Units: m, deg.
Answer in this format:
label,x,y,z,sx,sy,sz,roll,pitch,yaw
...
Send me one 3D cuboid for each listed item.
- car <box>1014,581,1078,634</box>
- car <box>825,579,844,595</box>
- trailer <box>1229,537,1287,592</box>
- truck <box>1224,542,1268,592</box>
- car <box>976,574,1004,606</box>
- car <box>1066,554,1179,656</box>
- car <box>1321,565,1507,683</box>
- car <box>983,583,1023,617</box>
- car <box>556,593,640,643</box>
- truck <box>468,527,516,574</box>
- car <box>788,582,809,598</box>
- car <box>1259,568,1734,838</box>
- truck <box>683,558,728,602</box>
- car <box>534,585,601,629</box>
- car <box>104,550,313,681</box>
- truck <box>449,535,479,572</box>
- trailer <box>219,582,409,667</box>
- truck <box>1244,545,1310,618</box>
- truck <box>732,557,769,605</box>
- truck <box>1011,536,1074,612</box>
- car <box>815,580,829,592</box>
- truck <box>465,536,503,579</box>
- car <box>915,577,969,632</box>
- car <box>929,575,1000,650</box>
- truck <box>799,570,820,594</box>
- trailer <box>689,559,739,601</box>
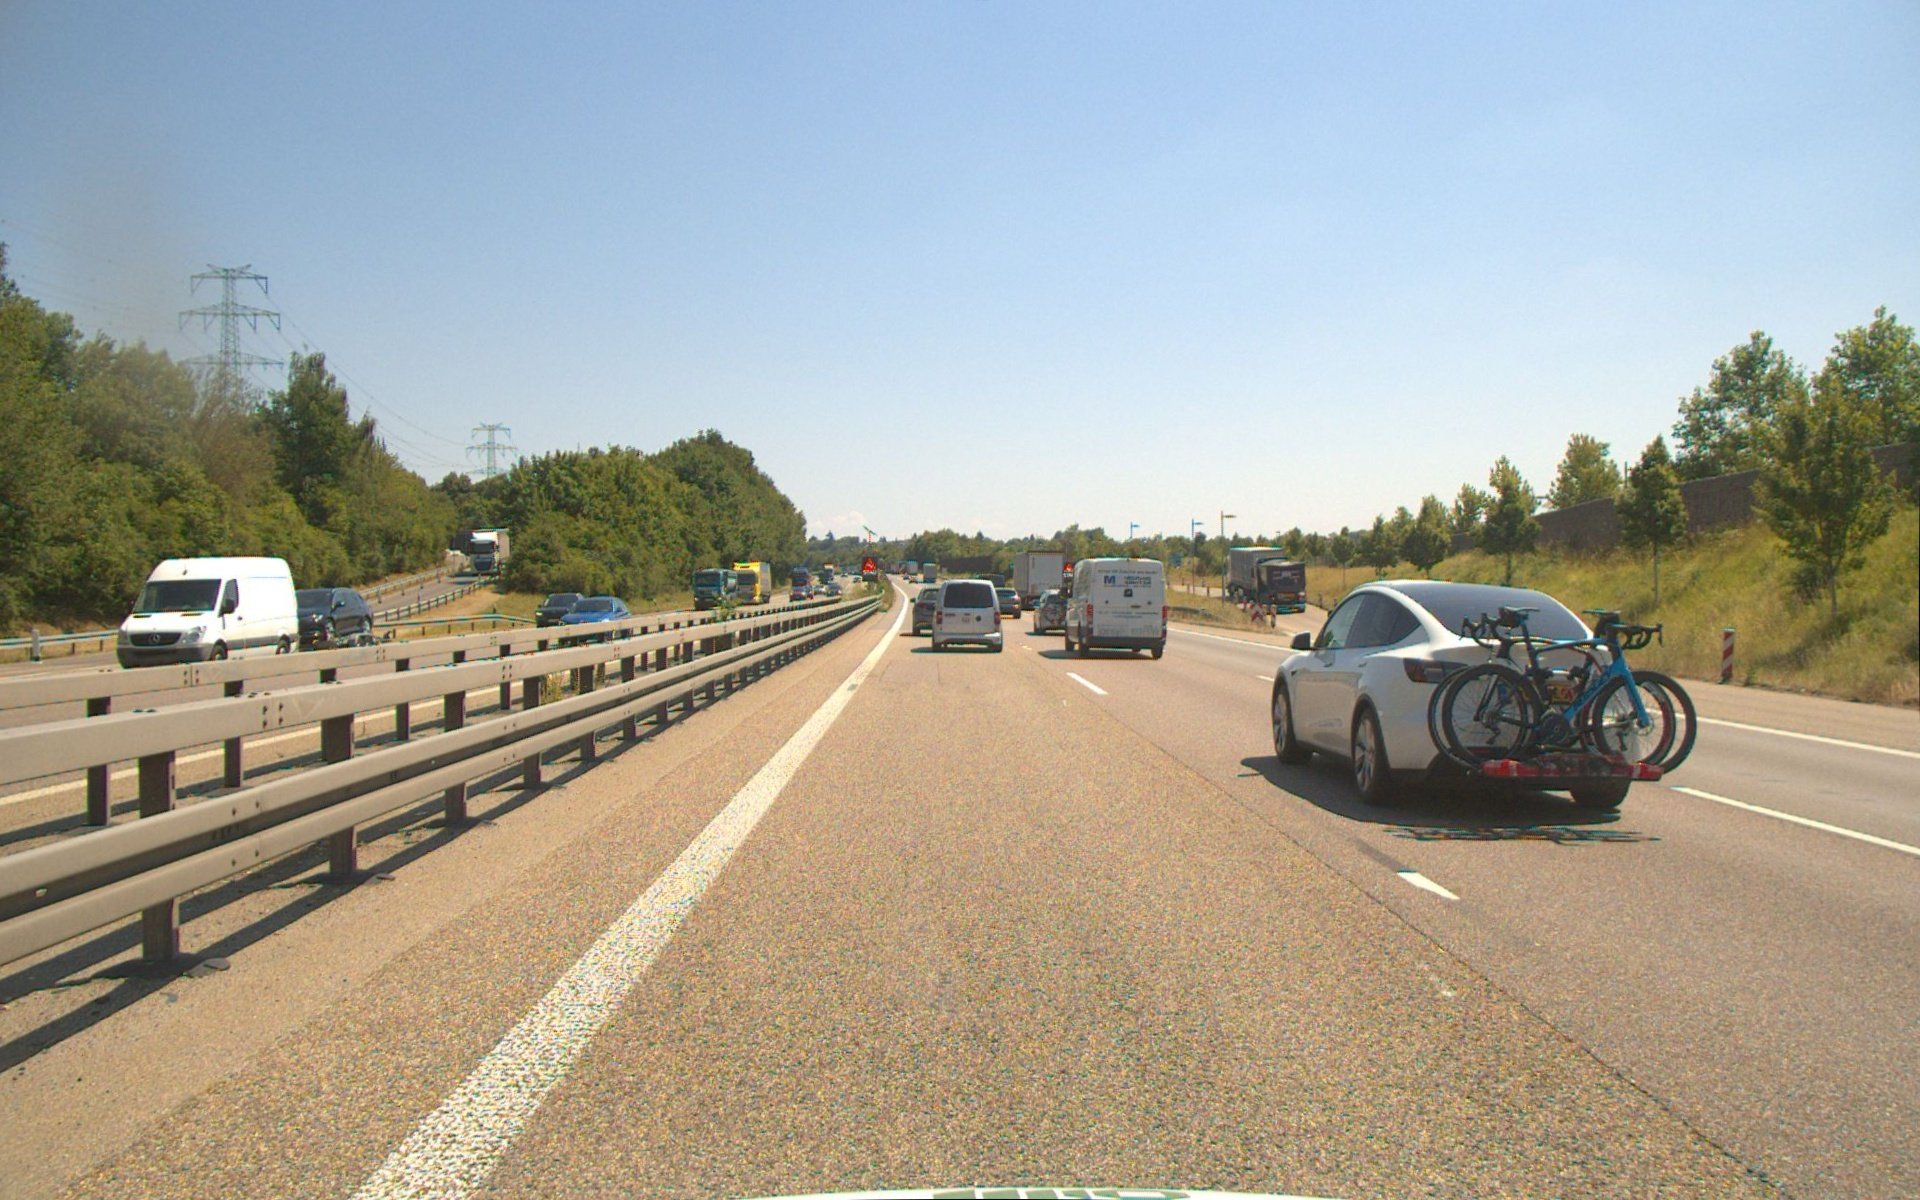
label,x,y,z,sx,sy,sz,roll,pitch,yaw
car,2.964,0.226,57.876,1.936,1.763,4.088,-1,0,-1
car,-13.360,-1.431,175.982,1.746,1.653,3.999,-1,0,-1
trailer,24.060,-2.751,134.169,2.988,4.154,14.265,1,0,4
truck,24.588,-2.814,142.253,2.988,4.154,6.401,1,0,4
car,1.866,-0.654,104.020,1.640,1.924,4.088,-1,0,-1
car,3.856,0.083,40.258,2.137,2.293,5.362,1,0,-1
car,7.788,0.362,28.774,1.911,1.870,4.176,-1,0,-3
car,2.218,-0.029,86.084,1.863,1.701,4.088,-1,0,-1
car,-11.429,0.545,52.488,1.745,1.499,4.354,0,1,0
truck,-46.340,-5.023,164.277,2.941,4.415,14.517,-1,3,-10
car,-16.535,-1.036,169.731,1.746,1.557,4.383,-3,1,-2
car,3.899,0.627,13.250,1.911,1.665,5.600,1,0,-1
truck,-20.309,-1.597,132.052,2.855,3.358,5.329,-1,1,-1
car,-17.631,0.282,74.432,2.114,1.831,4.511,-2,1,-3
car,-16.927,0.298,37.666,2.067,2.685,6.003,-2,0,-1
truck,-57.135,-5.289,190.845,2.506,4.078,11.750,1,0,-13
trailer,-16.997,0.566,44.029,2.710,1.979,6.719,-2,1,-3
truck,19.478,-1.120,102.059,3.707,4.154,12.529,1,0,10
truck,-19.879,-1.817,157.076,3.111,4.417,3.511,-1,0,-3
truck,5.809,-1.842,118.839,3.711,5.087,12.517,1,0,-1
car,-19.109,-1.986,229.267,1.746,1.557,3.882,-3,1,-2
truck,-45.119,-4.076,156.855,2.890,3.962,4.315,-1,3,-10
car,-0.580,0.129,54.899,1.709,1.731,4.088,-1,0,0
car,0.095,0.293,42.368,1.709,1.795,4.088,-1,0,-1
truck,-23.278,-2.775,255.798,2.936,3.620,3.117,-1,0,-2
trailer,-20.456,-1.687,137.952,2.855,3.358,9.708,-1,1,-1
